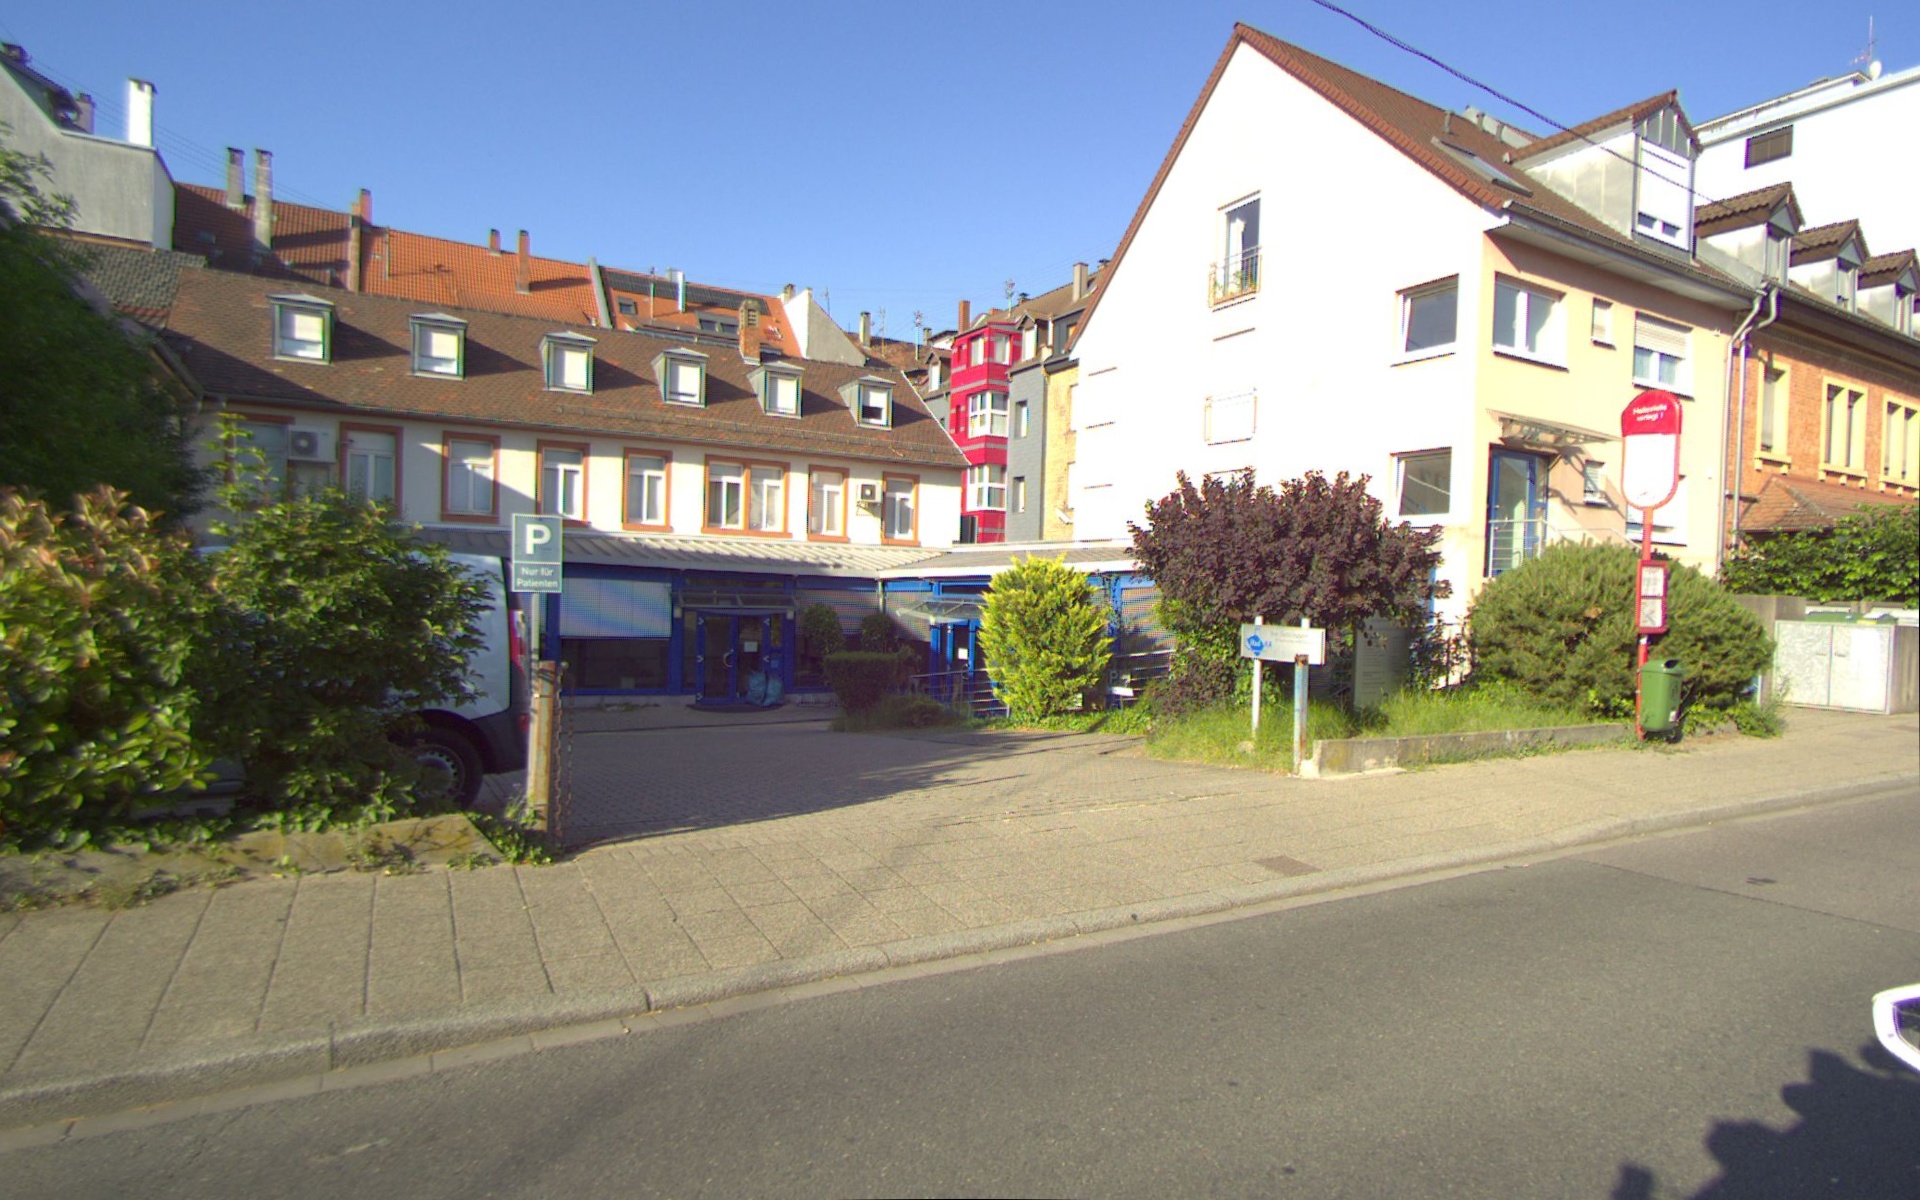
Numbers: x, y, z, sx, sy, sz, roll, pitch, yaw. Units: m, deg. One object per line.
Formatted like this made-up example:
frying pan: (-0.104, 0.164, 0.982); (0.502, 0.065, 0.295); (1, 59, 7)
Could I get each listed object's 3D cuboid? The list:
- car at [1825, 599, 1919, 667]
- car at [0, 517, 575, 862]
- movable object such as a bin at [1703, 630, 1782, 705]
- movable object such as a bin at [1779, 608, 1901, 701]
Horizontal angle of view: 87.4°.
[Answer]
car: (29.184, 1.015, 30.065); (1.977, 1.959, 4.590); (1, 1, -31)
car: (-4.576, 0.572, 6.637); (3.625, 1.838, 1.695); (1, -6, -28)
movable object such as a bin: (11.900, 1.011, 15.287); (0.594, 1.080, 0.755); (1, 1, -29)
movable object such as a bin: (14.800, 0.883, 16.909); (0.981, 1.449, 1.299); (1, 1, -33)
